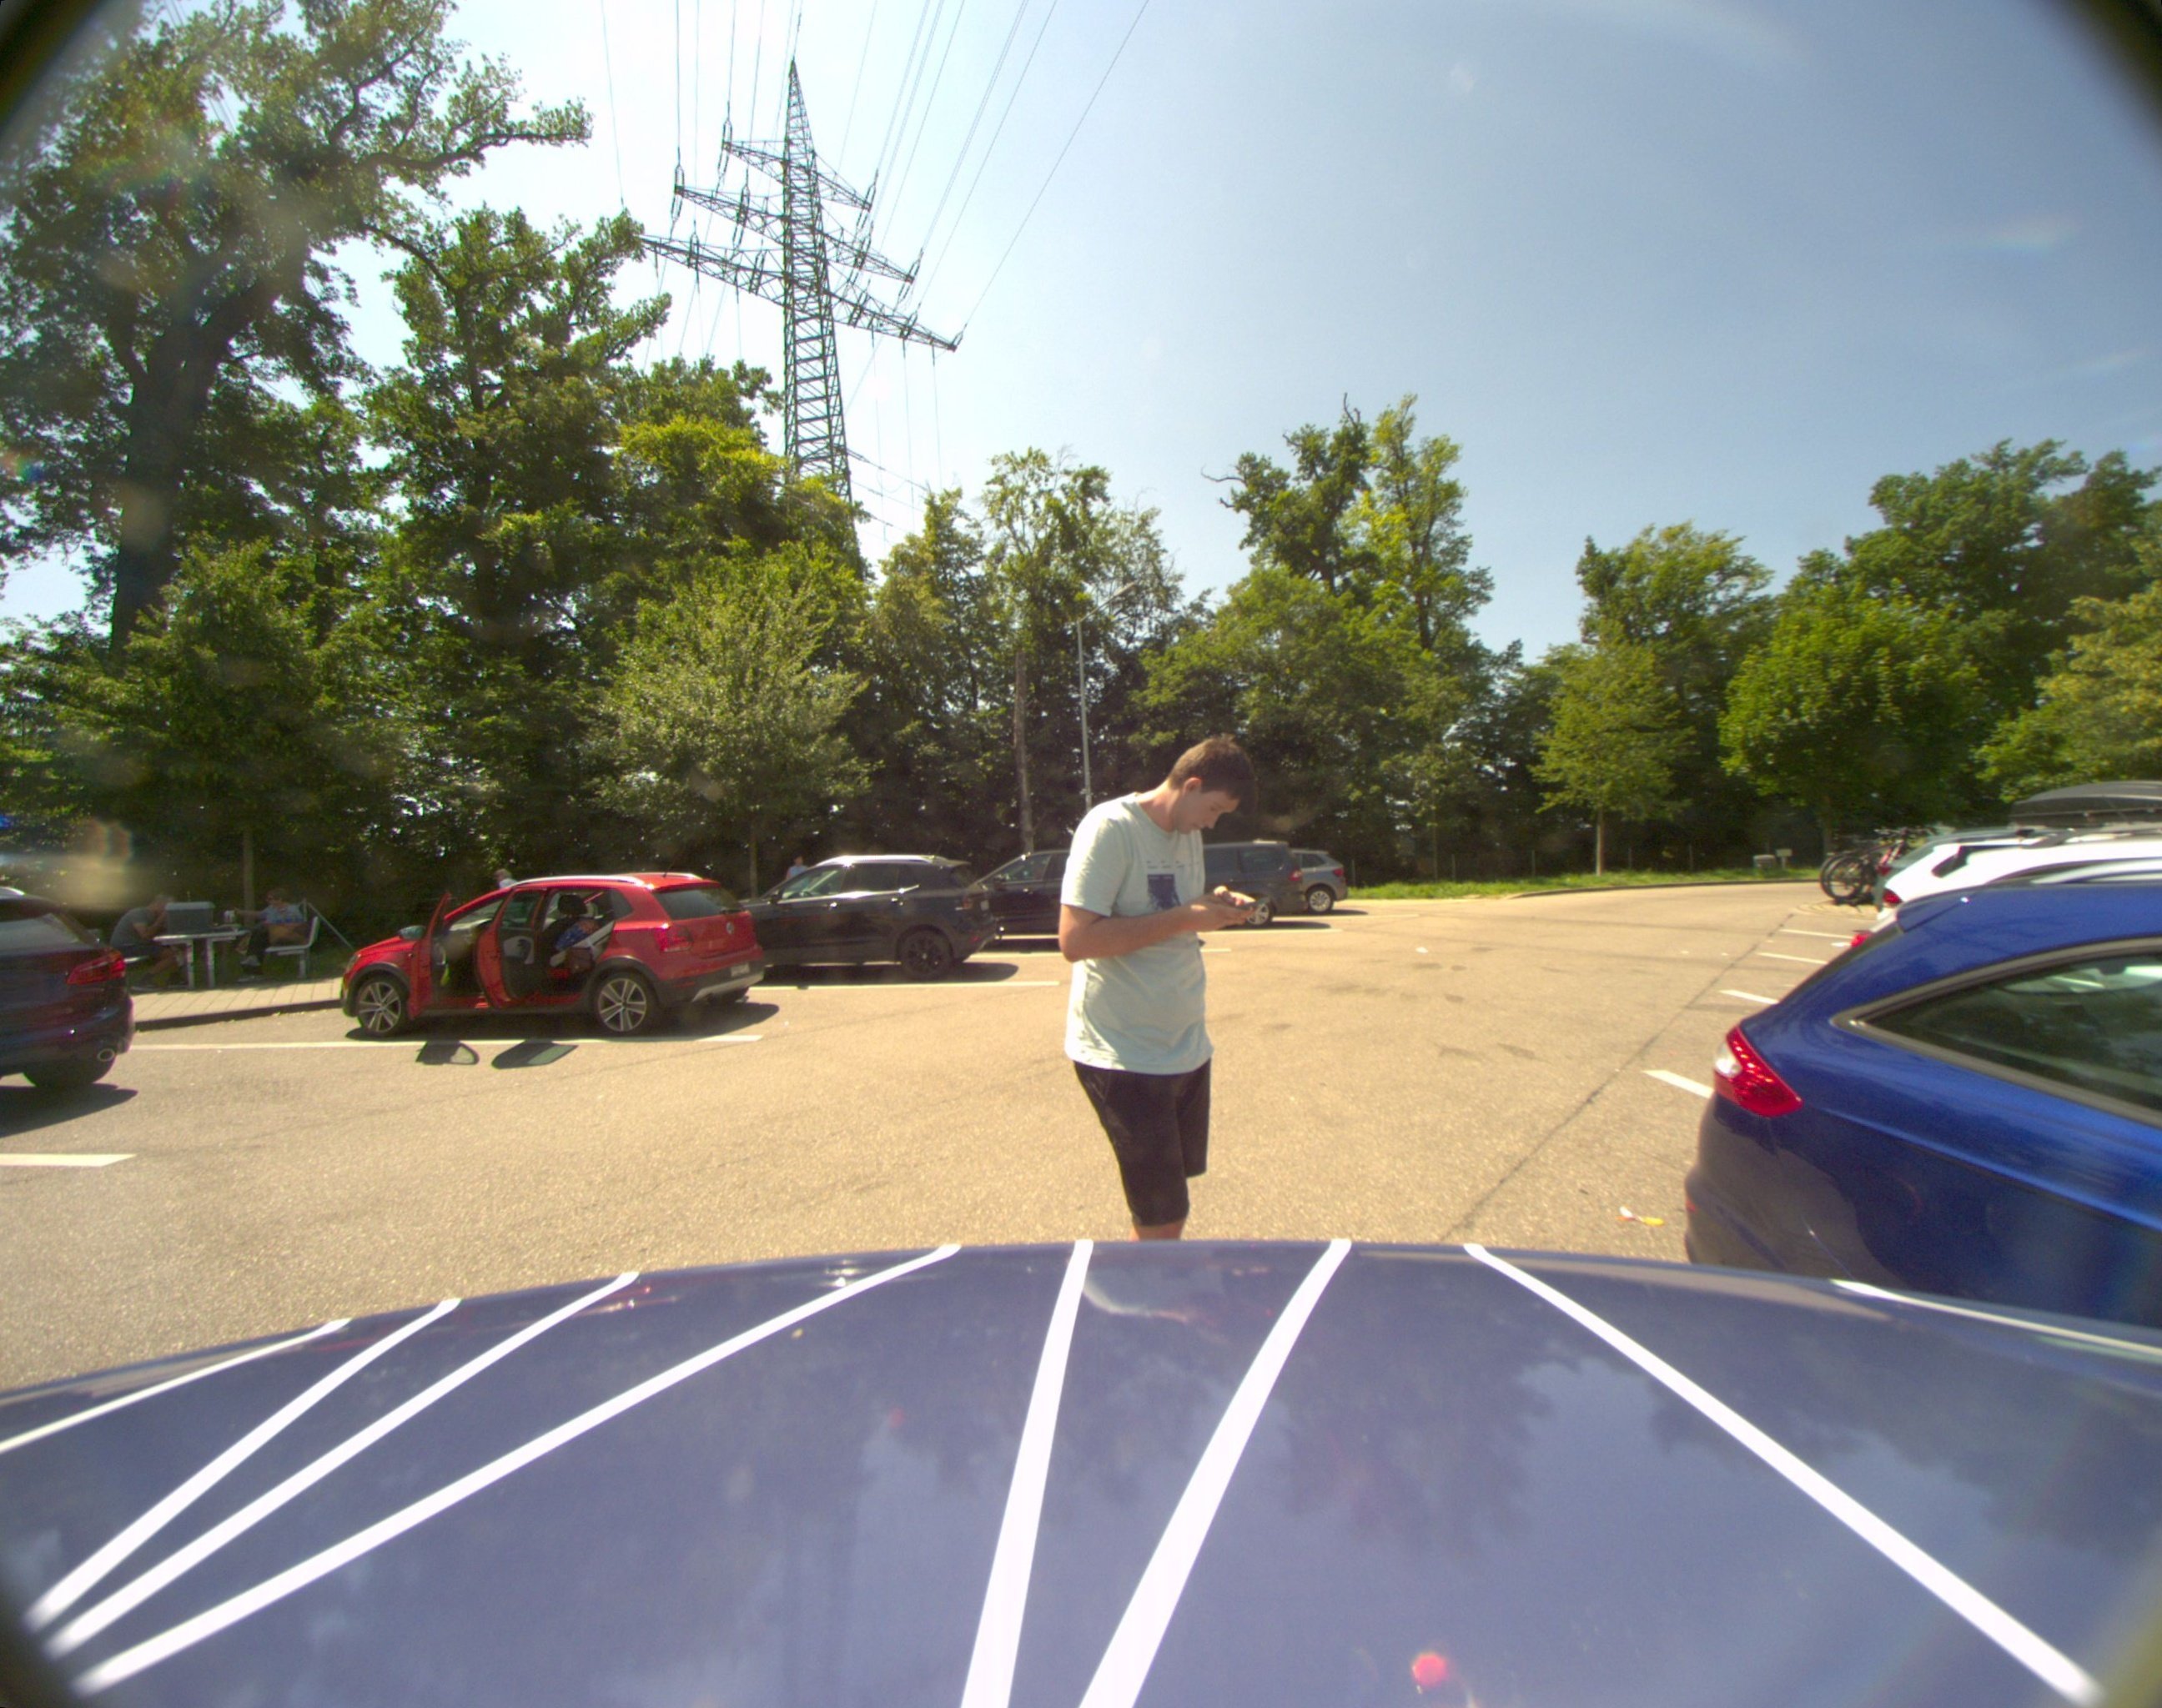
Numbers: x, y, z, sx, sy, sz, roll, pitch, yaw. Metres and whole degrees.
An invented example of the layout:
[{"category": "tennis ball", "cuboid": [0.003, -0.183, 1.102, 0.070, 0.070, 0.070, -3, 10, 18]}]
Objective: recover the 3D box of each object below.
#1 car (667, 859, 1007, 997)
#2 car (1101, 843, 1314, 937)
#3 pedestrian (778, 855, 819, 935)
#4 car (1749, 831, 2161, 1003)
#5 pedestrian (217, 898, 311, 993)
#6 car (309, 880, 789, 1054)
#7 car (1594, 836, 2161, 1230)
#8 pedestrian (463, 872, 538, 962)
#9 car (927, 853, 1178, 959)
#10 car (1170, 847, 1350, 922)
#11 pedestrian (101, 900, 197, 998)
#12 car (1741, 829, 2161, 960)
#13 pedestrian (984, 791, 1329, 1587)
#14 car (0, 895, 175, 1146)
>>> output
[{"category": "car", "cuboid": [-3.152, 0.940, 10.373, 3.966, 1.582, 1.841, -2, 0, 3]}, {"category": "car", "cuboid": [2.503, 0.699, 15.444, 3.964, 1.678, 1.781, -2, 0, 7]}, {"category": "pedestrian", "cuboid": [-5.857, 0.838, 15.736, 0.716, 1.584, 0.808, -2, 0, -23]}, {"category": "car", "cuboid": [10.058, 0.534, 8.152, 1.779, 1.456, 4.470, -2, -1, 0]}, {"category": "pedestrian", "cuboid": [-11.835, 1.304, 11.016, 0.828, 1.287, 0.672, -2, 0, 24]}, {"category": "car", "cuboid": [-5.199, 1.074, 7.713, 3.704, 1.448, 1.781, -2, 0, 7]}, {"category": "car", "cuboid": [4.901, 0.658, 3.661, 1.779, 1.456, 4.470, -2, -1, 0]}, {"category": "pedestrian", "cuboid": [-10.727, 1.141, 14.050, 0.808, 1.584, 0.777, -2, 0, 25]}, {"category": "car", "cuboid": [-0.383, 0.844, 12.959, 3.964, 1.582, 1.781, -2, 0, 8]}, {"category": "car", "cuboid": [4.172, 0.715, 18.197, 3.964, 1.577, 1.781, -2, 0, 7]}, {"category": "pedestrian", "cuboid": [-12.935, 1.294, 10.553, 0.652, 1.262, 0.672, -2, 0, 24]}, {"category": "car", "cuboid": [12.359, 0.478, 10.937, 1.779, 1.456, 4.470, -2, -1, 0]}, {"category": "pedestrian", "cuboid": [0.166, 0.729, 1.933, 0.687, 1.699, 0.578, -2, 0, 1]}, {"category": "car", "cuboid": [-8.924, 1.159, 4.995, 4.011, 1.558, 1.846, -2, 0, 6]}]
